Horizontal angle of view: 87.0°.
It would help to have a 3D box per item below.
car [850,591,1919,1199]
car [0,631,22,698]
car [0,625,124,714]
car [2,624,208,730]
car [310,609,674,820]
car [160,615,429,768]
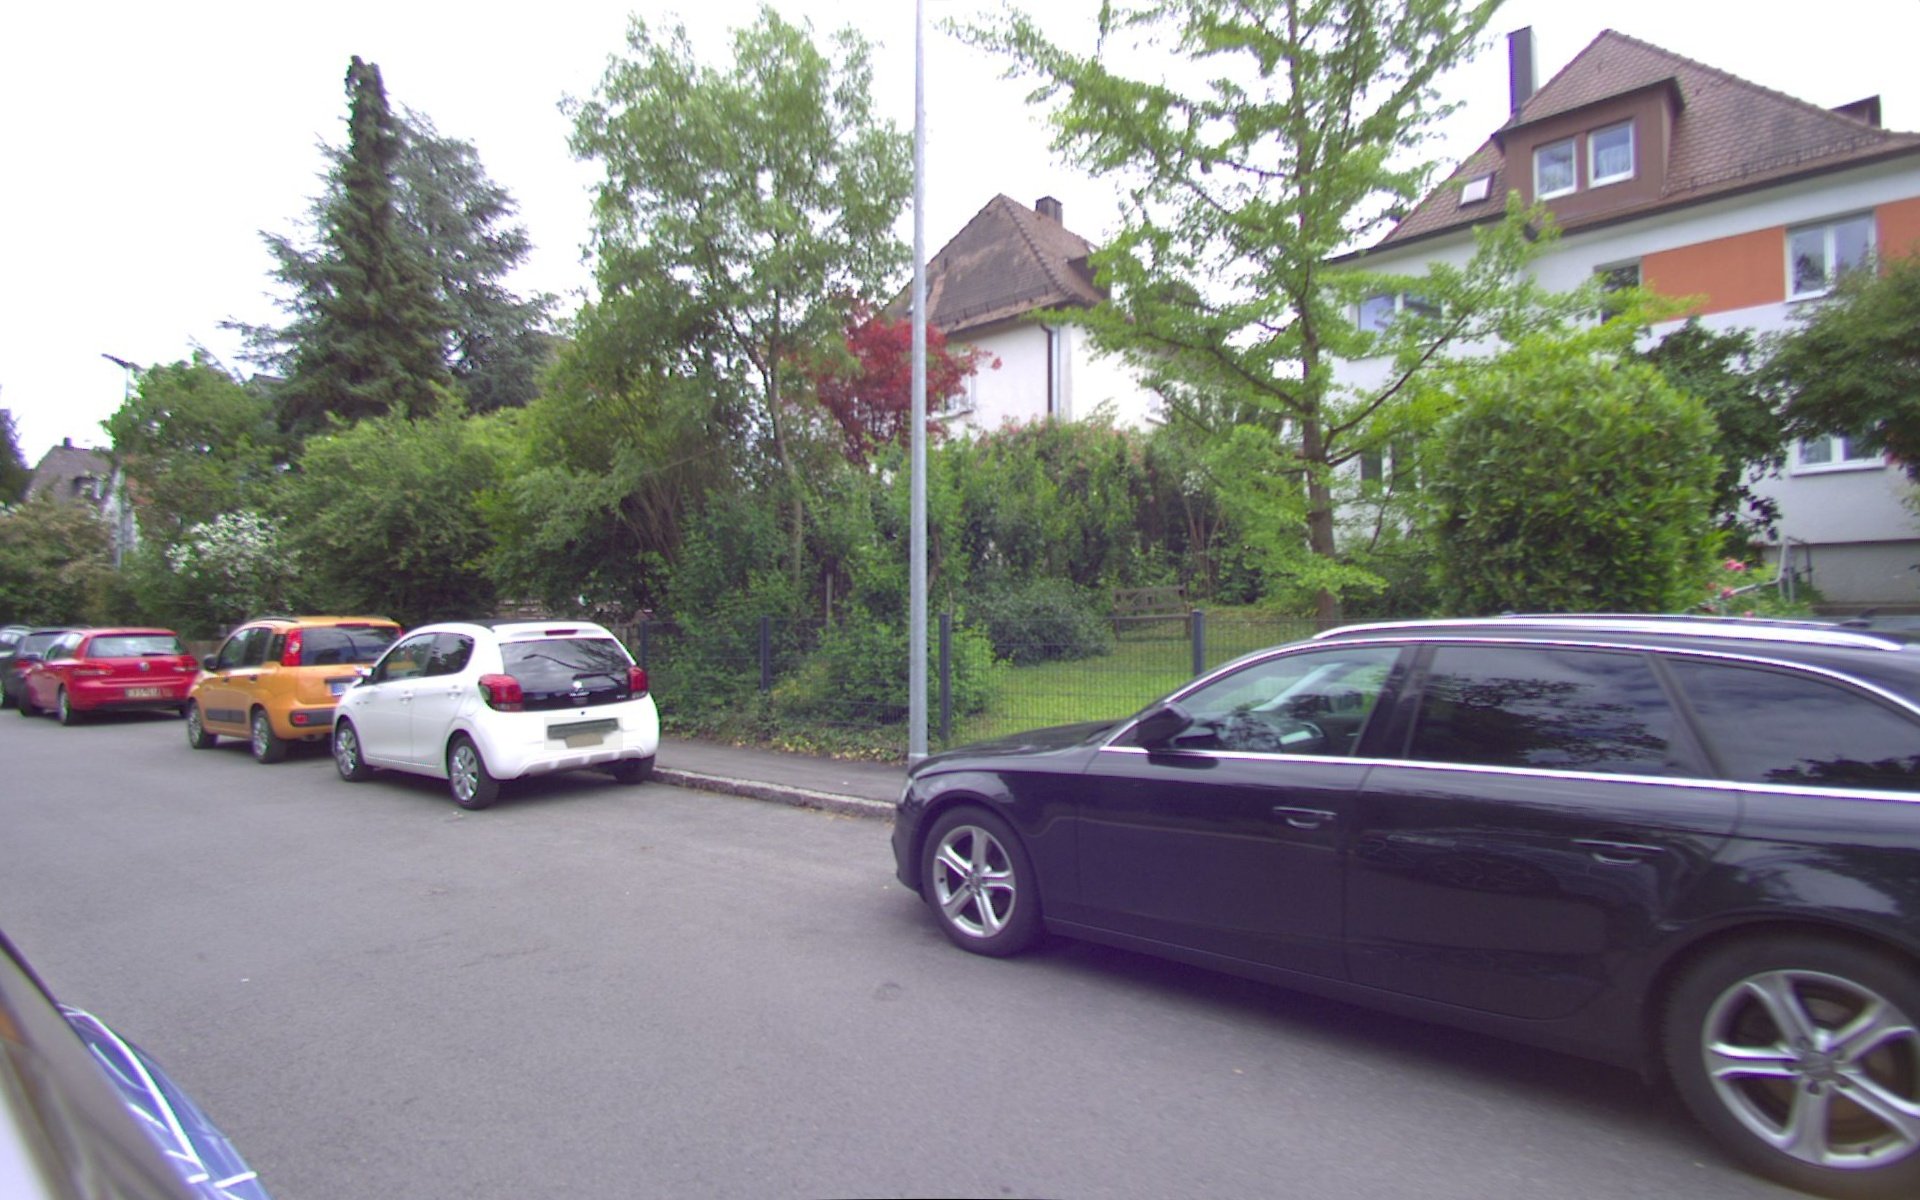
[{"bbox_3d":[1.779,0.712,3.791,4.662,1.395,1.700,-2,-2,42],"label":"car"},{"bbox_3d":[-22.502,1.415,22.295,4.147,1.421,1.694,-1,-1,32],"label":"car"},{"bbox_3d":[-17.988,1.275,19.588,4.485,1.526,1.692,-1,-1,35],"label":"car"},{"bbox_3d":[-14.146,1.179,16.677,4.356,1.526,1.691,-2,-1,37],"label":"car"},{"bbox_3d":[-4.292,0.870,9.077,3.586,1.526,1.572,-2,-2,39],"label":"car"},{"bbox_3d":[-7.873,0.965,11.871,3.638,1.526,1.529,-2,-1,37],"label":"car"}]
